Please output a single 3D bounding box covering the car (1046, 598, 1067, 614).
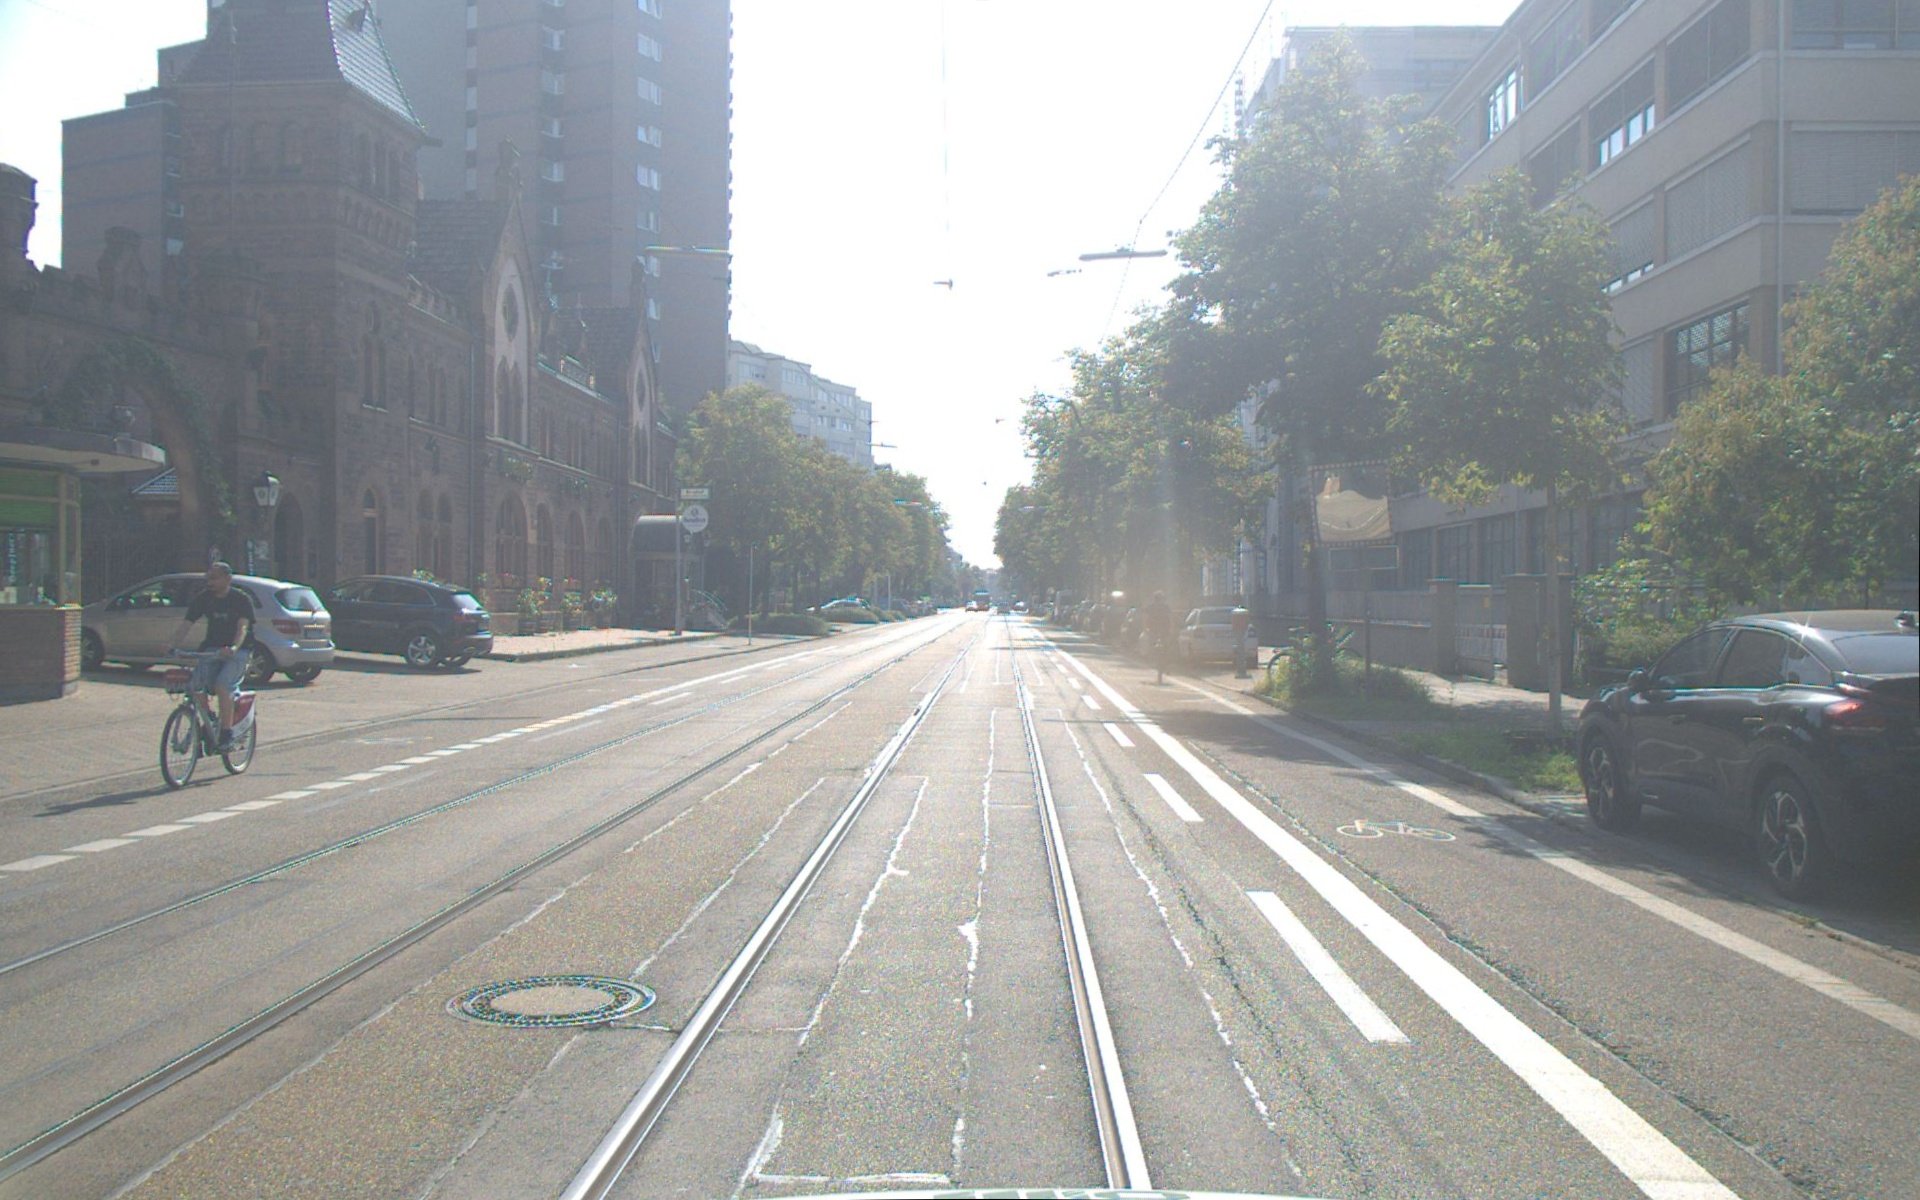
[{"bbox_3d":[8.444,0.533,144.829,1.717,1.402,4.720,-1,0,2],"label":"car"}]

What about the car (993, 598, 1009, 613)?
[{"bbox_3d":[5.077,0.694,204.895,1.952,1.870,4.001,1,0,3],"label":"car"}]

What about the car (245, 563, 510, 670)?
[{"bbox_3d":[-11.150,0.308,31.878,4.309,1.674,1.956,4,0,-1],"label":"car"}]

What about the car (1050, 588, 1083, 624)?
[{"bbox_3d":[8.028,0.437,125.523,2.040,2.597,5.501,-3,0,0],"label":"car"}]

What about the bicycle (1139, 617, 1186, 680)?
[{"bbox_3d":[3.930,0.918,32.245,0.770,1.164,2.306,0,0,3],"label":"bicycle"}]

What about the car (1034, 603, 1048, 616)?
[{"bbox_3d":[9.415,1.092,191.930,1.561,1.443,3.635,1,0,2],"label":"car"}]

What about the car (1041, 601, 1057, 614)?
[{"bbox_3d":[9.559,0.815,178.168,1.654,1.443,3.635,0,0,2],"label":"car"}]

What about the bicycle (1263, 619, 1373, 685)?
[{"bbox_3d":[6.208,0.890,28.748,1.733,1.082,0.796,-1,0,-1],"label":"bicycle"}]

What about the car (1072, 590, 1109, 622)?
[{"bbox_3d":[7.389,0.333,94.157,1.717,1.721,4.396,1,0,0],"label":"car"}]

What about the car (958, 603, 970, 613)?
[{"bbox_3d":[0.597,1.206,247.782,1.791,1.400,4.513,1,0,1],"label":"car"}]

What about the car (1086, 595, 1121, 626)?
[{"bbox_3d":[7.298,0.501,84.299,1.543,1.511,3.739,-1,0,2],"label":"car"}]

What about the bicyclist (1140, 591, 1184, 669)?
[{"bbox_3d":[3.939,0.573,32.253,0.770,1.495,1.116,0,0,3],"label":"bicyclist"}]

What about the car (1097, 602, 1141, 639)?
[{"bbox_3d":[6.837,0.858,71.306,1.612,1.537,3.779,-1,0,2],"label":"car"}]

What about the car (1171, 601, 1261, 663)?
[{"bbox_3d":[6.319,0.766,41.186,1.606,1.455,3.988,-1,0,0],"label":"car"}]

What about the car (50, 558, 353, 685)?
[{"bbox_3d":[-11.867,0.321,26.033,3.818,1.623,1.823,4,0,4],"label":"car"}]

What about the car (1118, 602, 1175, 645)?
[{"bbox_3d":[6.711,0.829,59.869,1.612,1.453,4.085,0,0,0],"label":"car"}]

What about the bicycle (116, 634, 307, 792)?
[{"bbox_3d":[-6.269,0.906,13.988,0.683,1.178,2.037,-2,0,-1],"label":"bicycle"}]

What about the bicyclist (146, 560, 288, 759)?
[{"bbox_3d":[-6.292,0.485,14.059,0.683,1.608,1.087,-2,0,-1],"label":"bicyclist"}]

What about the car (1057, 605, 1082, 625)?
[{"bbox_3d":[7.627,1.049,115.507,1.583,1.398,4.828,0,0,2],"label":"car"}]

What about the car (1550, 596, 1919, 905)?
[{"bbox_3d":[5.434,0.759,10.616,1.705,1.512,4.437,-1,0,0],"label":"car"}]
